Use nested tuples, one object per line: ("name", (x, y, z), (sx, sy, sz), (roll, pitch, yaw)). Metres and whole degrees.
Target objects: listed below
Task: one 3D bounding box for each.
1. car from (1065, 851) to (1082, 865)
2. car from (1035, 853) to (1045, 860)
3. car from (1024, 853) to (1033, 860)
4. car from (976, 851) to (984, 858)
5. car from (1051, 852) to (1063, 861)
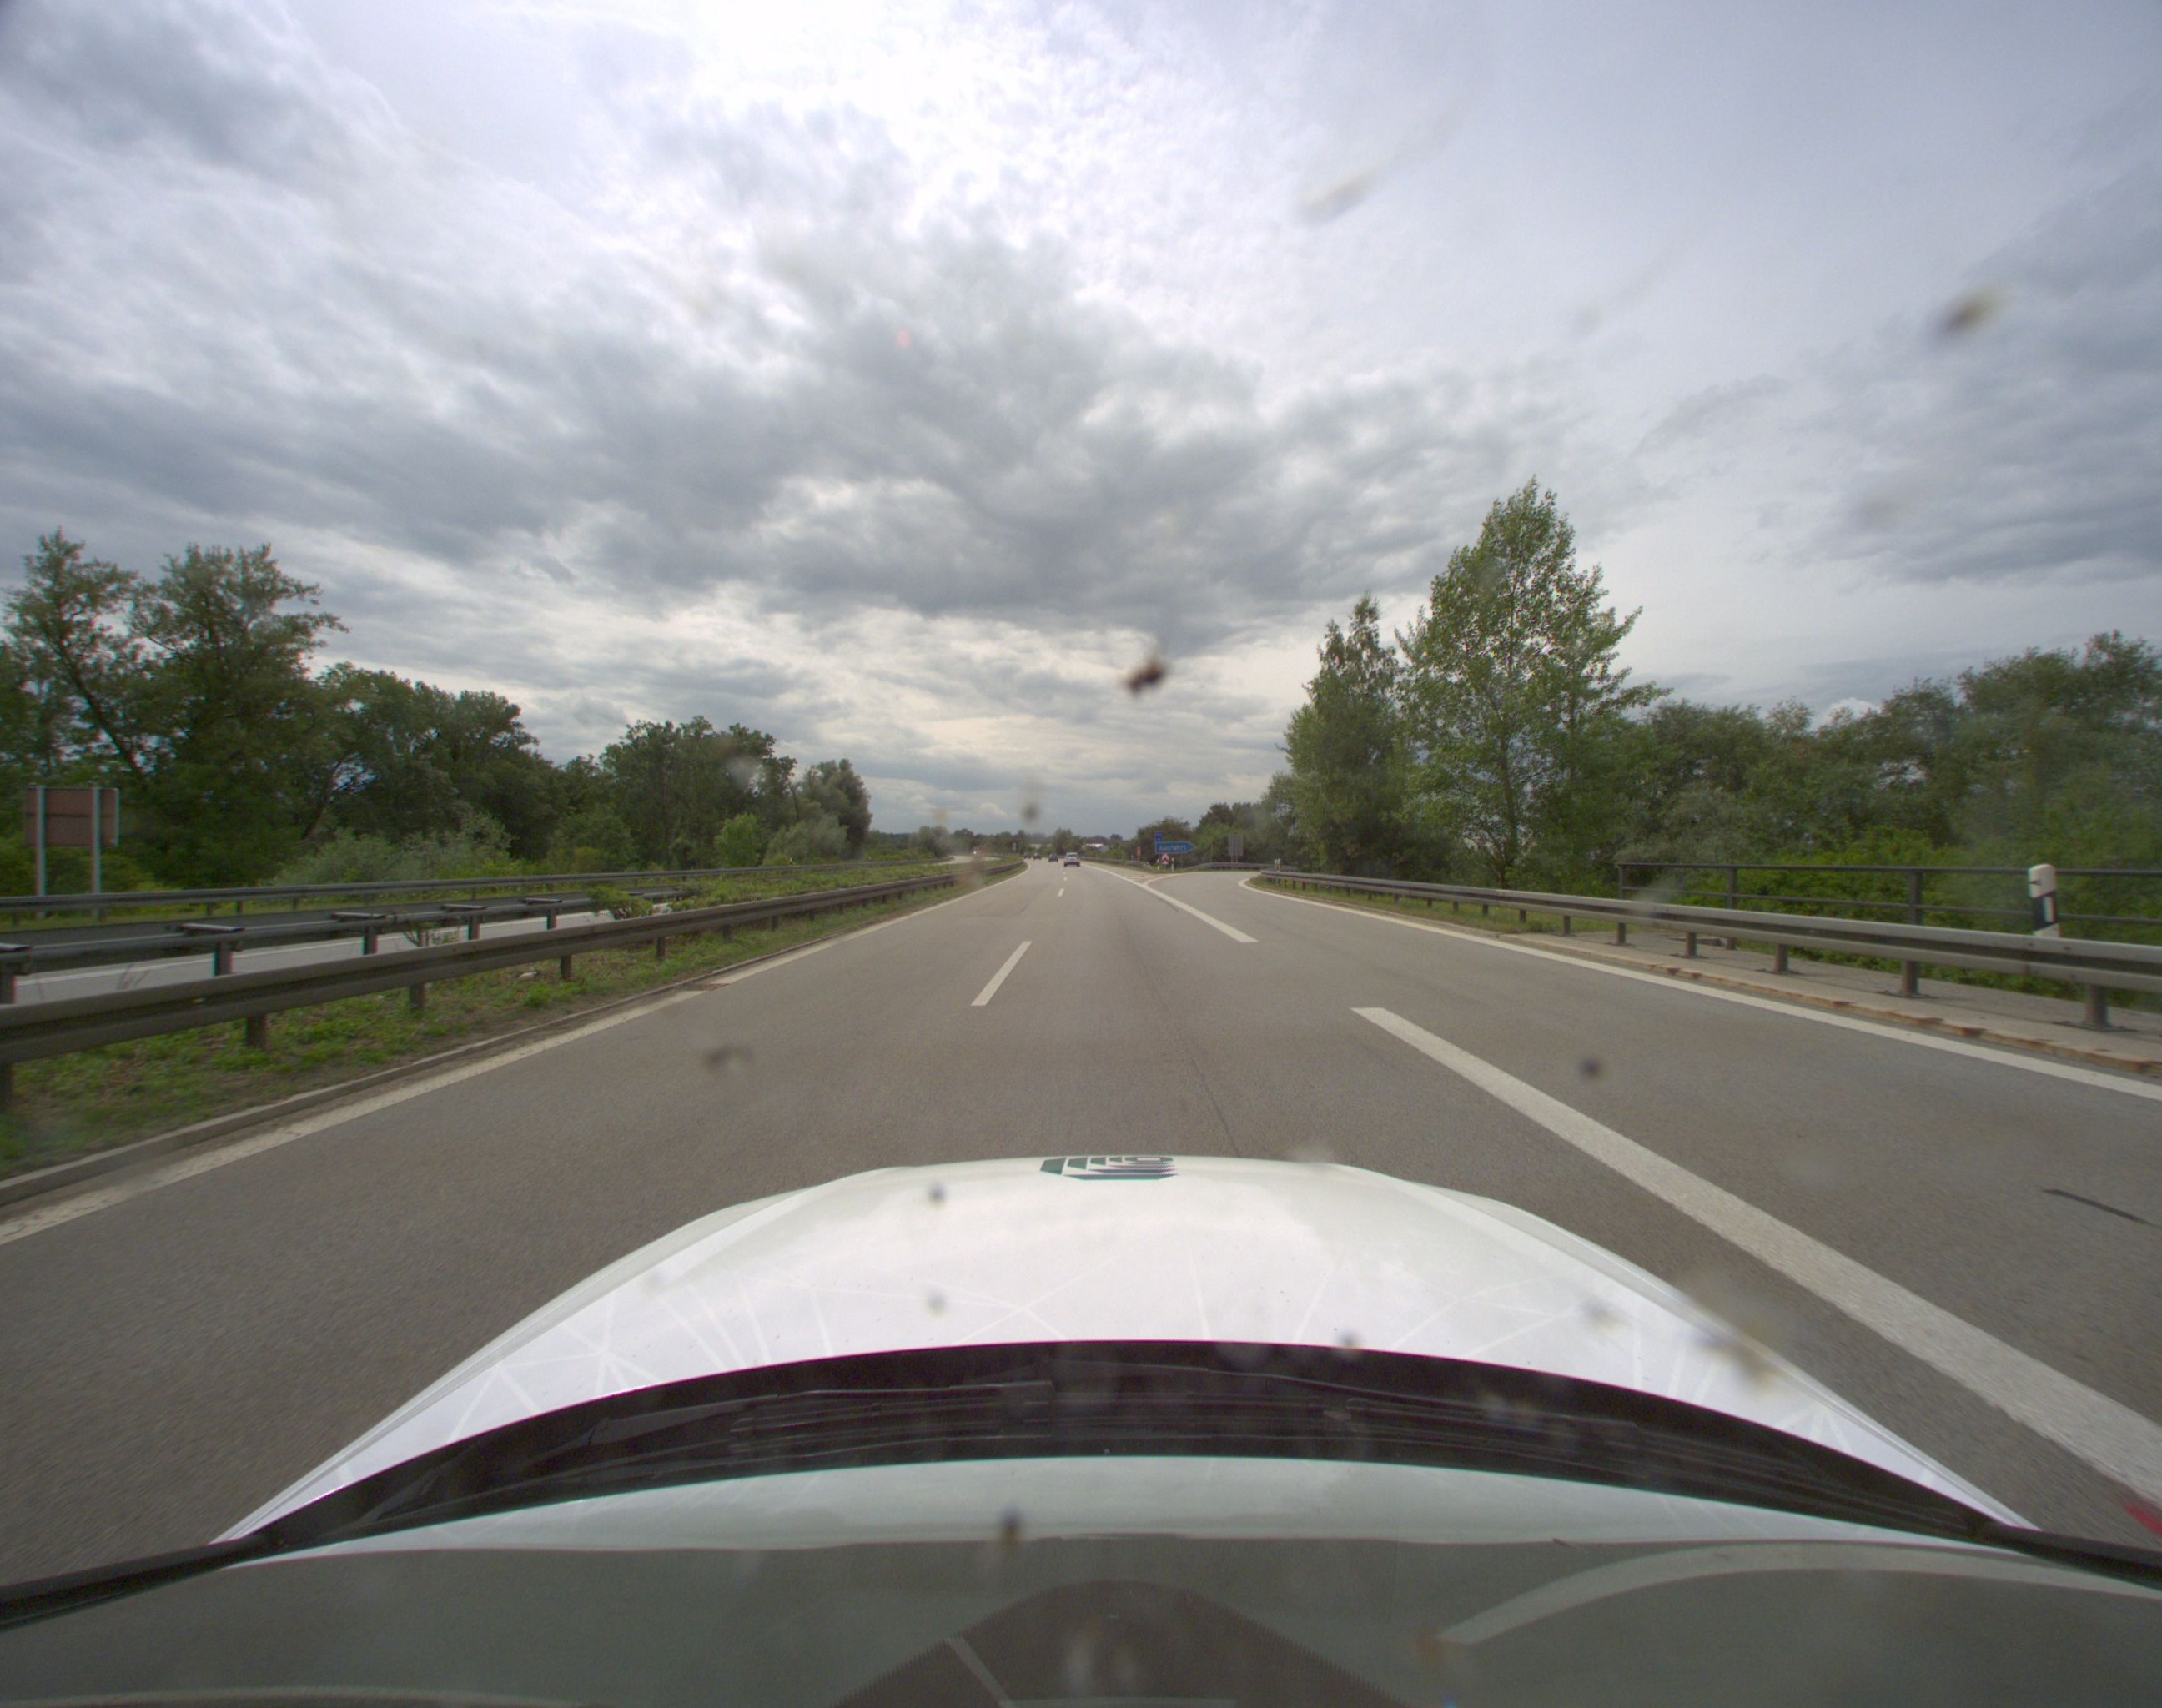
("car", (-0.950, 0.499, 99.479), (1.898, 1.640, 4.392), (0, 0, -3))
("car", (-10.074, 0.644, 197.920), (1.902, 1.640, 4.763), (0, 0, -10))
("car", (-14.630, 0.651, 227.421), (1.827, 1.793, 4.397), (-3, 1, -10))
("car", (-26.541, 0.183, 213.264), (1.697, 1.884, 5.221), (0, 0, -4))
("car", (-4.603, 0.492, 154.817), (1.890, 1.640, 4.612), (0, 0, -6))
